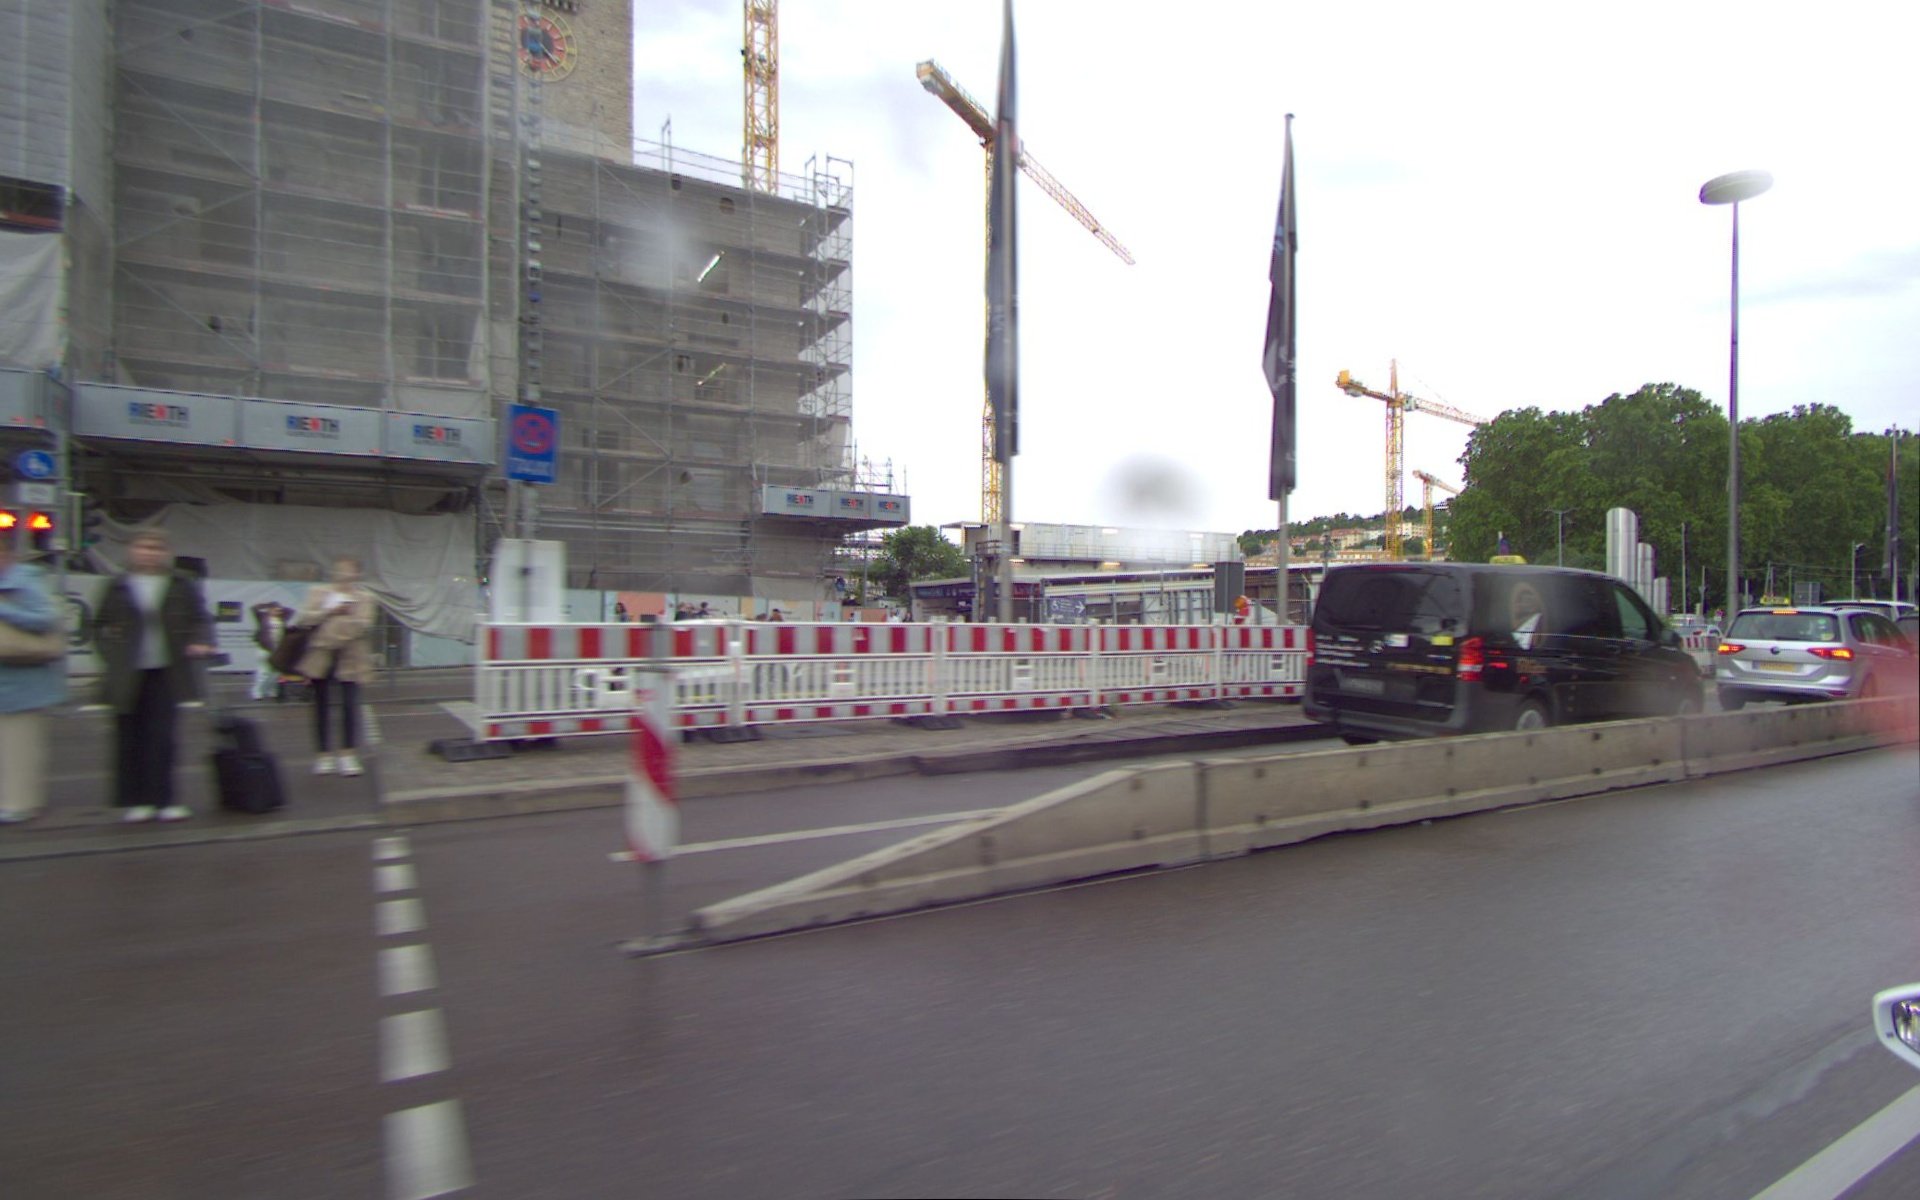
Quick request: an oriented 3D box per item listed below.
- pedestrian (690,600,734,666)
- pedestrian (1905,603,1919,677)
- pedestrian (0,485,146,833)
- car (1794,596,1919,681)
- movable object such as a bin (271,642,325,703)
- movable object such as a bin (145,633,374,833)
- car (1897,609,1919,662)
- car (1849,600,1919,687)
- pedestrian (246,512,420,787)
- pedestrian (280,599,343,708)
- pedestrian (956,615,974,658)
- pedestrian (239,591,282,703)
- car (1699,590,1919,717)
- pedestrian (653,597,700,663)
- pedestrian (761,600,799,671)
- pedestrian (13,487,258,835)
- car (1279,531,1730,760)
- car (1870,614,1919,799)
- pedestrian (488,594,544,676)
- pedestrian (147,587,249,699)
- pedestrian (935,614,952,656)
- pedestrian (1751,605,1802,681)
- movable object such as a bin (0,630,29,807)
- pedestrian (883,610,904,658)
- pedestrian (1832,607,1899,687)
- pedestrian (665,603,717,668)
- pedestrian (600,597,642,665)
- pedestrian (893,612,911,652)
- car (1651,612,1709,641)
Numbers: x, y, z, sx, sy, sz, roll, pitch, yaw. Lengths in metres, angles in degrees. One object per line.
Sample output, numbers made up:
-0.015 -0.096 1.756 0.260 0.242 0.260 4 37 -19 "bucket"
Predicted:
-7.317 0.985 29.688 1.007 1.906 0.836 1 -2 1 "pedestrian"
22.665 0.927 23.199 0.825 1.697 1.021 1 0 -27 "pedestrian"
-5.659 0.326 5.990 0.802 1.911 1.006 1 -1 -7 "pedestrian"
24.410 1.015 26.784 5.316 2.040 1.980 2 0 -35 "car"
-11.297 1.218 17.160 0.713 0.983 0.755 1 -1 -31 "movable object such as a bin"
-4.208 0.763 6.125 0.735 1.091 1.006 1 -1 -7 "movable object such as a bin"
31.889 1.178 32.274 4.013 1.651 1.704 2 0 -34 "car"
18.890 0.850 19.159 4.443 1.531 1.812 2 0 -34 "car"
-4.672 0.353 7.567 1.015 1.906 0.830 1 0 -27 "pedestrian"
-11.520 0.940 17.861 0.868 1.865 0.694 2 0 -31 "pedestrian"
0.220 1.672 45.984 0.780 1.906 0.494 1 -2 0 "pedestrian"
-11.991 0.795 17.233 0.522 1.865 0.694 1 -1 -31 "pedestrian"
13.703 0.792 15.812 4.724 1.719 1.812 2 0 -34 "car"
-8.392 0.886 29.742 1.007 1.906 0.837 1 -2 13 "pedestrian"
-4.874 0.963 27.259 0.843 1.906 0.717 1 -2 0 "pedestrian"
-4.907 0.345 6.058 0.670 1.911 1.006 1 -1 -7 "pedestrian"
5.771 0.424 10.406 5.009 1.870 1.981 2 0 -34 "car"
10.274 0.934 9.037 4.798 1.528 1.867 1 0 -32 "car"
-10.122 0.803 22.946 0.965 1.812 0.834 2 -2 -13 "pedestrian"
-13.160 0.730 17.386 1.022 1.865 0.985 1 -1 -8 "pedestrian"
-0.752 1.614 46.309 0.718 1.906 0.640 1 -2 0 "pedestrian"
19.774 1.034 24.325 0.812 1.777 0.632 2 0 -27 "pedestrian"
-6.284 0.727 6.004 0.735 1.091 0.744 1 -1 -7 "movable object such as a bin"
-2.731 1.398 41.364 0.785 1.906 0.662 1 -2 0 "pedestrian"
20.895 1.066 23.181 1.015 1.807 0.830 1 0 -27 "pedestrian"
-7.145 0.942 26.751 1.007 1.685 0.836 1 -2 17 "pedestrian"
-9.645 0.889 28.624 1.010 1.906 0.834 2 -2 -13 "pedestrian"
-2.822 1.562 49.088 0.788 1.906 0.659 1 -2 0 "pedestrian"
69.309 2.551 96.670 5.721 2.737 2.373 2 -2 -30 "car"
